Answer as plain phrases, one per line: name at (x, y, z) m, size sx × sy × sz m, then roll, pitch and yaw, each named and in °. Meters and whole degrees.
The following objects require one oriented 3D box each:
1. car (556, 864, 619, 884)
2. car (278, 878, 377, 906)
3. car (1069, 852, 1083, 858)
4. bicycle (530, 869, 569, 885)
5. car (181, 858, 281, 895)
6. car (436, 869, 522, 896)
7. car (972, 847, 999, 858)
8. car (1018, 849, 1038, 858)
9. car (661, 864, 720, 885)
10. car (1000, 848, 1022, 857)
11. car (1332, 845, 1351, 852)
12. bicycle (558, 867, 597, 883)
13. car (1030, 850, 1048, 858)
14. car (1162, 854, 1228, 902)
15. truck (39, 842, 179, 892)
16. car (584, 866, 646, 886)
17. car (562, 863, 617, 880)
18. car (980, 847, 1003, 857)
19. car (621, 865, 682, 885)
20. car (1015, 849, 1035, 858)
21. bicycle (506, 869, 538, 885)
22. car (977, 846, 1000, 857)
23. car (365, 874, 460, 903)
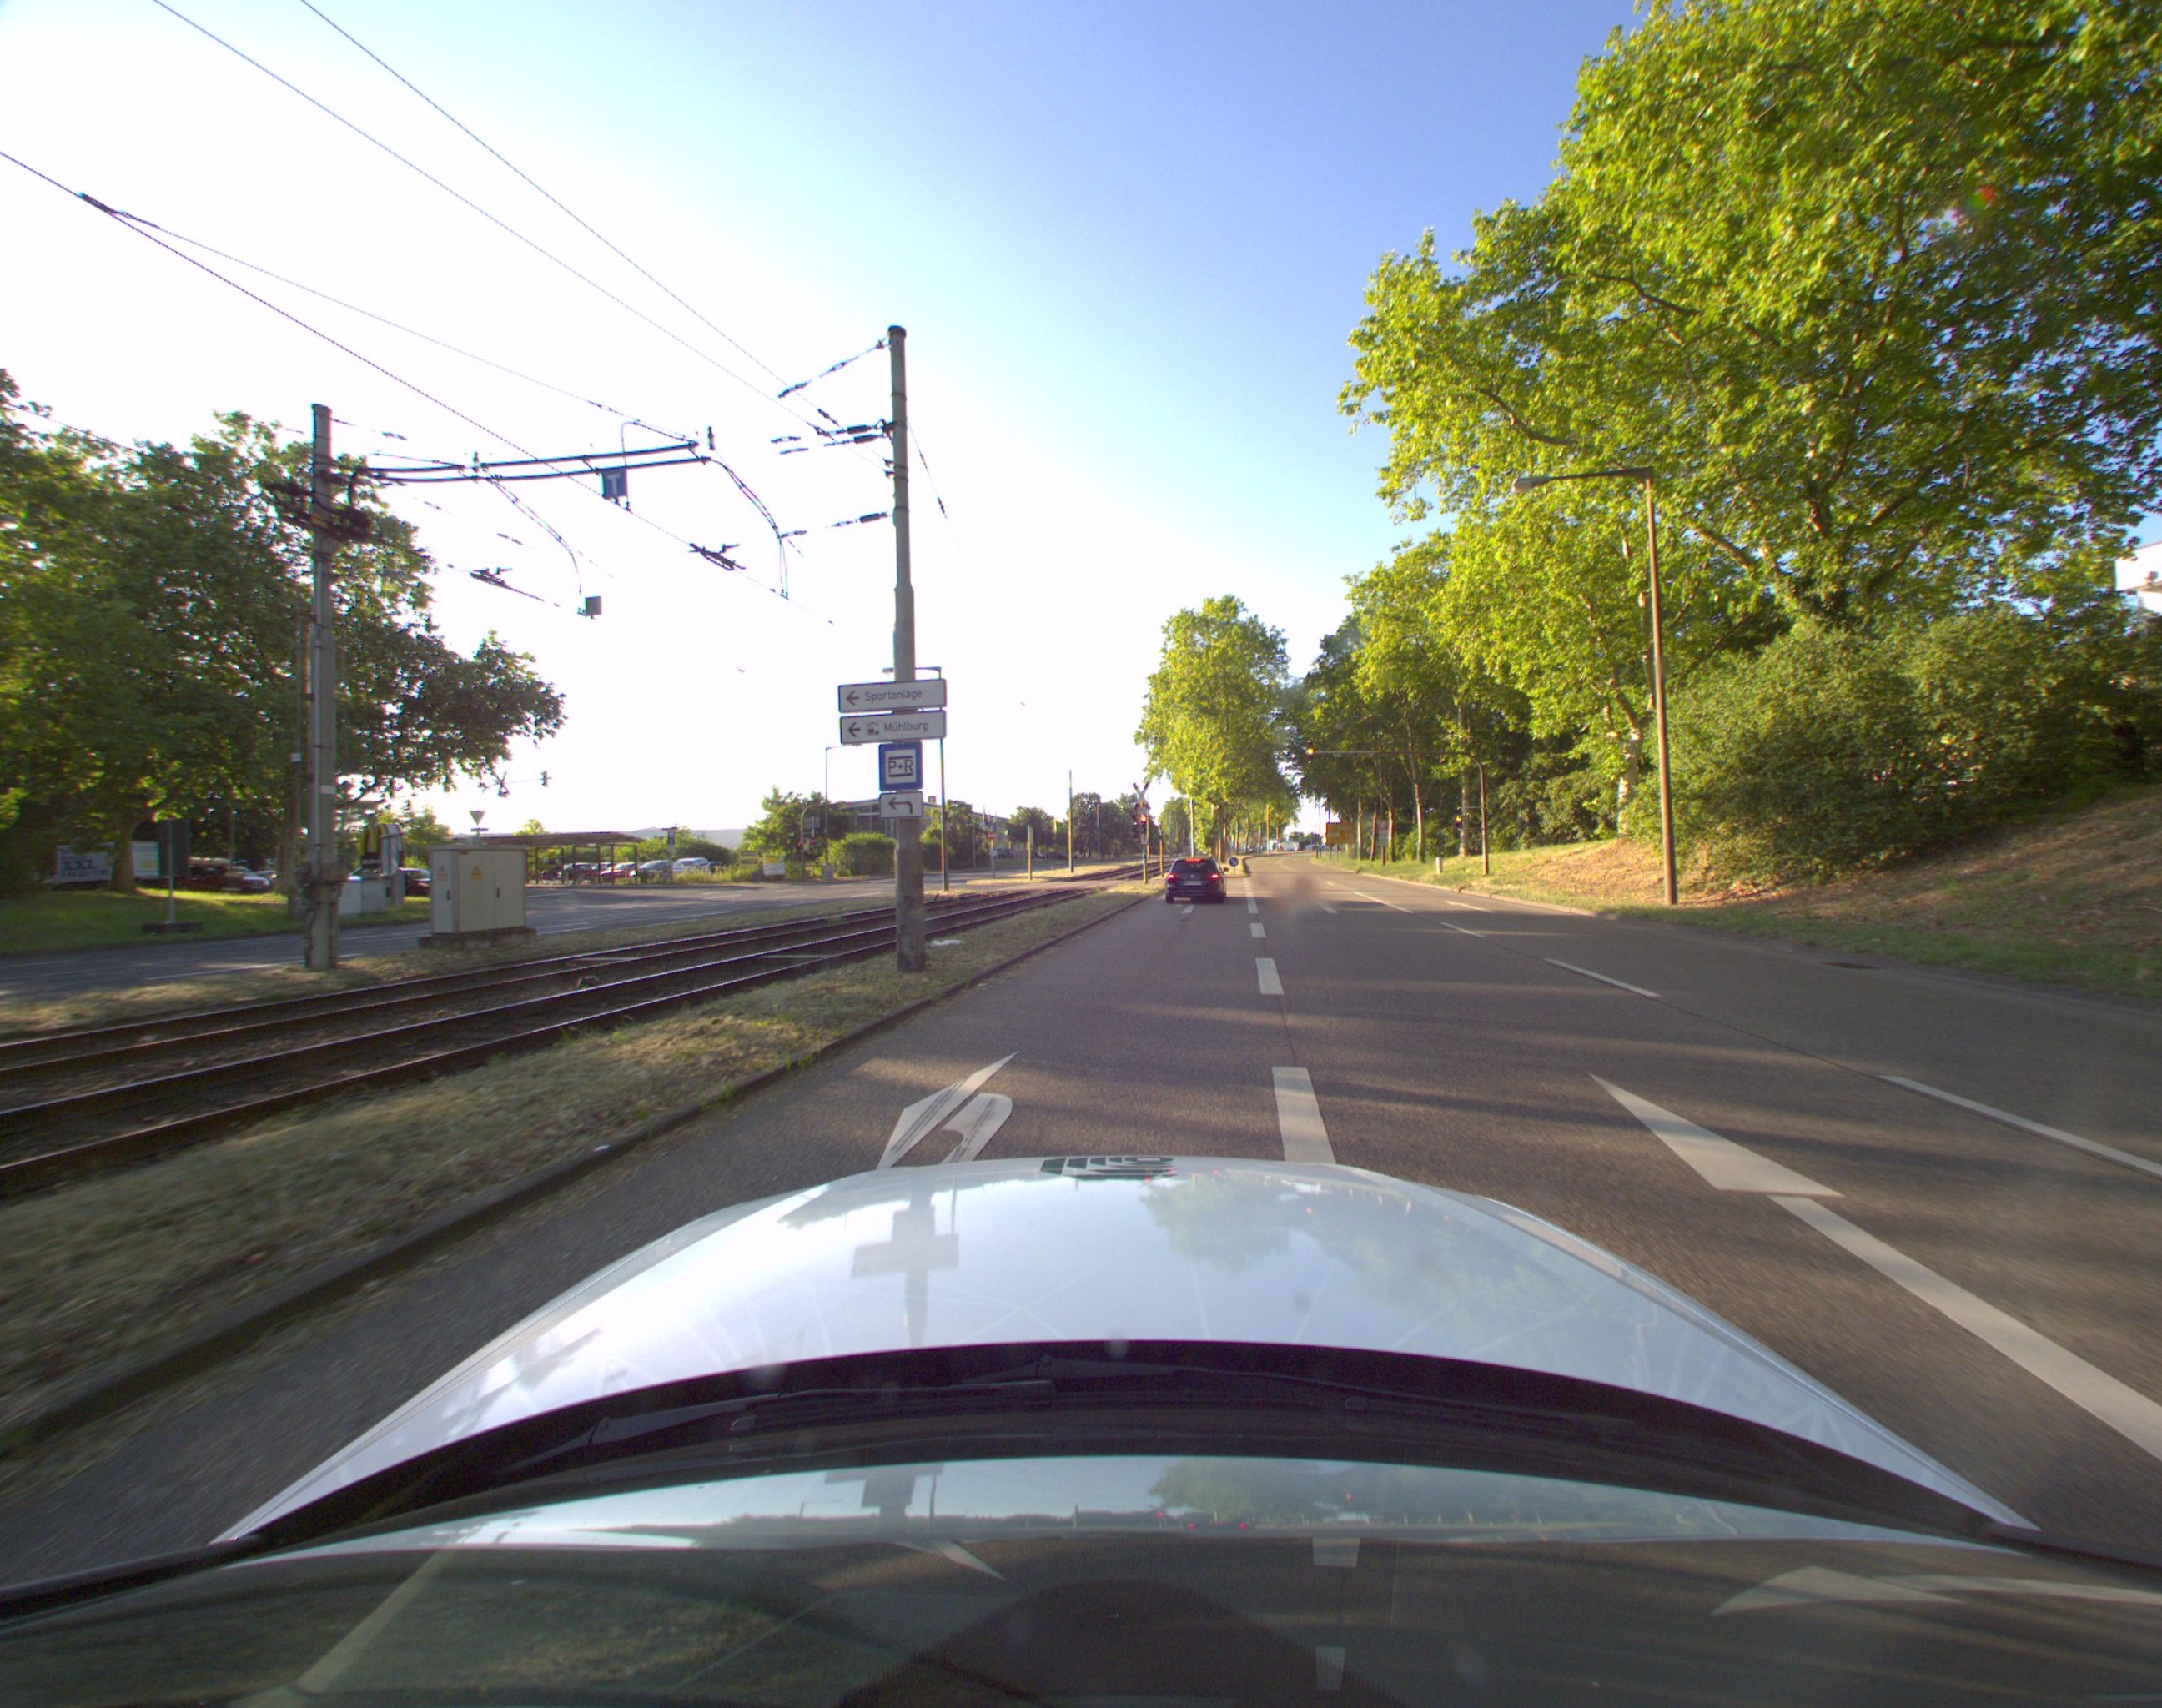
car at (-38.211, 1.558, 63.201) m, size 1.828 × 1.442 × 4.015 m, roll -1°, pitch 0°, yaw 14°
car at (-39.703, 1.995, 42.936) m, size 4.027 × 1.387 × 1.790 m, roll -1°, pitch 0°, yaw 12°
car at (-1.147, 0.230, 191.127) m, size 3.125 × 1.490 × 1.458 m, roll -1°, pitch 0°, yaw 7°
bicycle at (-36.761, 1.574, 56.347) m, size 0.659 × 1.065 × 2.206 m, roll -1°, pitch 0°, yaw 41°
car at (-45.818, 1.216, 43.920) m, size 3.958 × 1.860 × 2.008 m, roll -2°, pitch 0°, yaw 14°
car at (-33.226, 1.572, 44.963) m, size 4.023 × 1.387 × 1.792 m, roll -1°, pitch 0°, yaw 17°
car at (-12.491, -0.163, 106.664) m, size 3.125 × 1.391 × 1.458 m, roll -1°, pitch 0°, yaw 7°
car at (-9.316, -0.047, 142.841) m, size 3.125 × 1.490 × 1.458 m, roll -1°, pitch 0°, yaw 7°
car at (-29.069, 1.489, 60.780) m, size 1.828 × 1.442 × 4.015 m, roll -1°, pitch 0°, yaw 14°
car at (-11.071, -0.249, 128.952) m, size 3.125 × 1.490 × 1.458 m, roll -1°, pitch 0°, yaw 7°
car at (57.889, -1.236, 180.811) m, size 3.665 × 1.403 × 1.798 m, roll -1°, pitch -1°, yaw -1°
bicycle at (-34.141, 1.406, 55.240) m, size 0.659 × 1.065 × 2.206 m, roll -1°, pitch 0°, yaw 29°
car at (-7.497, 0.035, 145.582) m, size 3.125 × 1.490 × 1.458 m, roll -1°, pitch 0°, yaw 7°
car at (3.713, 0.722, 26.081) m, size 1.780 × 1.403 × 3.701 m, roll -1°, pitch 0°, yaw 12°
truck at (-68.393, 0.909, 57.327) m, size 8.233 × 3.388 × 2.743 m, roll -1°, pitch 0°, yaw 12°
car at (-35.516, 1.660, 62.205) m, size 1.828 × 1.442 × 4.015 m, roll -1°, pitch 0°, yaw 14°
car at (-43.474, 1.544, 72.108) m, size 1.828 × 1.442 × 4.015 m, roll -1°, pitch 0°, yaw 14°
car at (-13.327, -0.283, 121.901) m, size 3.125 × 1.490 × 1.458 m, roll -1°, pitch 0°, yaw 7°
car at (-32.279, 1.558, 61.288) m, size 1.828 × 1.442 × 4.015 m, roll -1°, pitch 0°, yaw 14°
car at (-9.602, -0.163, 139.518) m, size 3.125 × 1.490 × 1.458 m, roll -1°, pitch 0°, yaw 7°
bicycle at (-38.712, 1.597, 56.469) m, size 0.663 × 1.065 × 2.193 m, roll -1°, pitch 0°, yaw 1°
car at (-13.396, -0.363, 118.027) m, size 3.125 × 1.490 × 1.458 m, roll -1°, pitch 0°, yaw 7°
car at (-34.317, 1.761, 41.819) m, size 4.023 × 1.387 × 1.792 m, roll -1°, pitch 0°, yaw 17°
